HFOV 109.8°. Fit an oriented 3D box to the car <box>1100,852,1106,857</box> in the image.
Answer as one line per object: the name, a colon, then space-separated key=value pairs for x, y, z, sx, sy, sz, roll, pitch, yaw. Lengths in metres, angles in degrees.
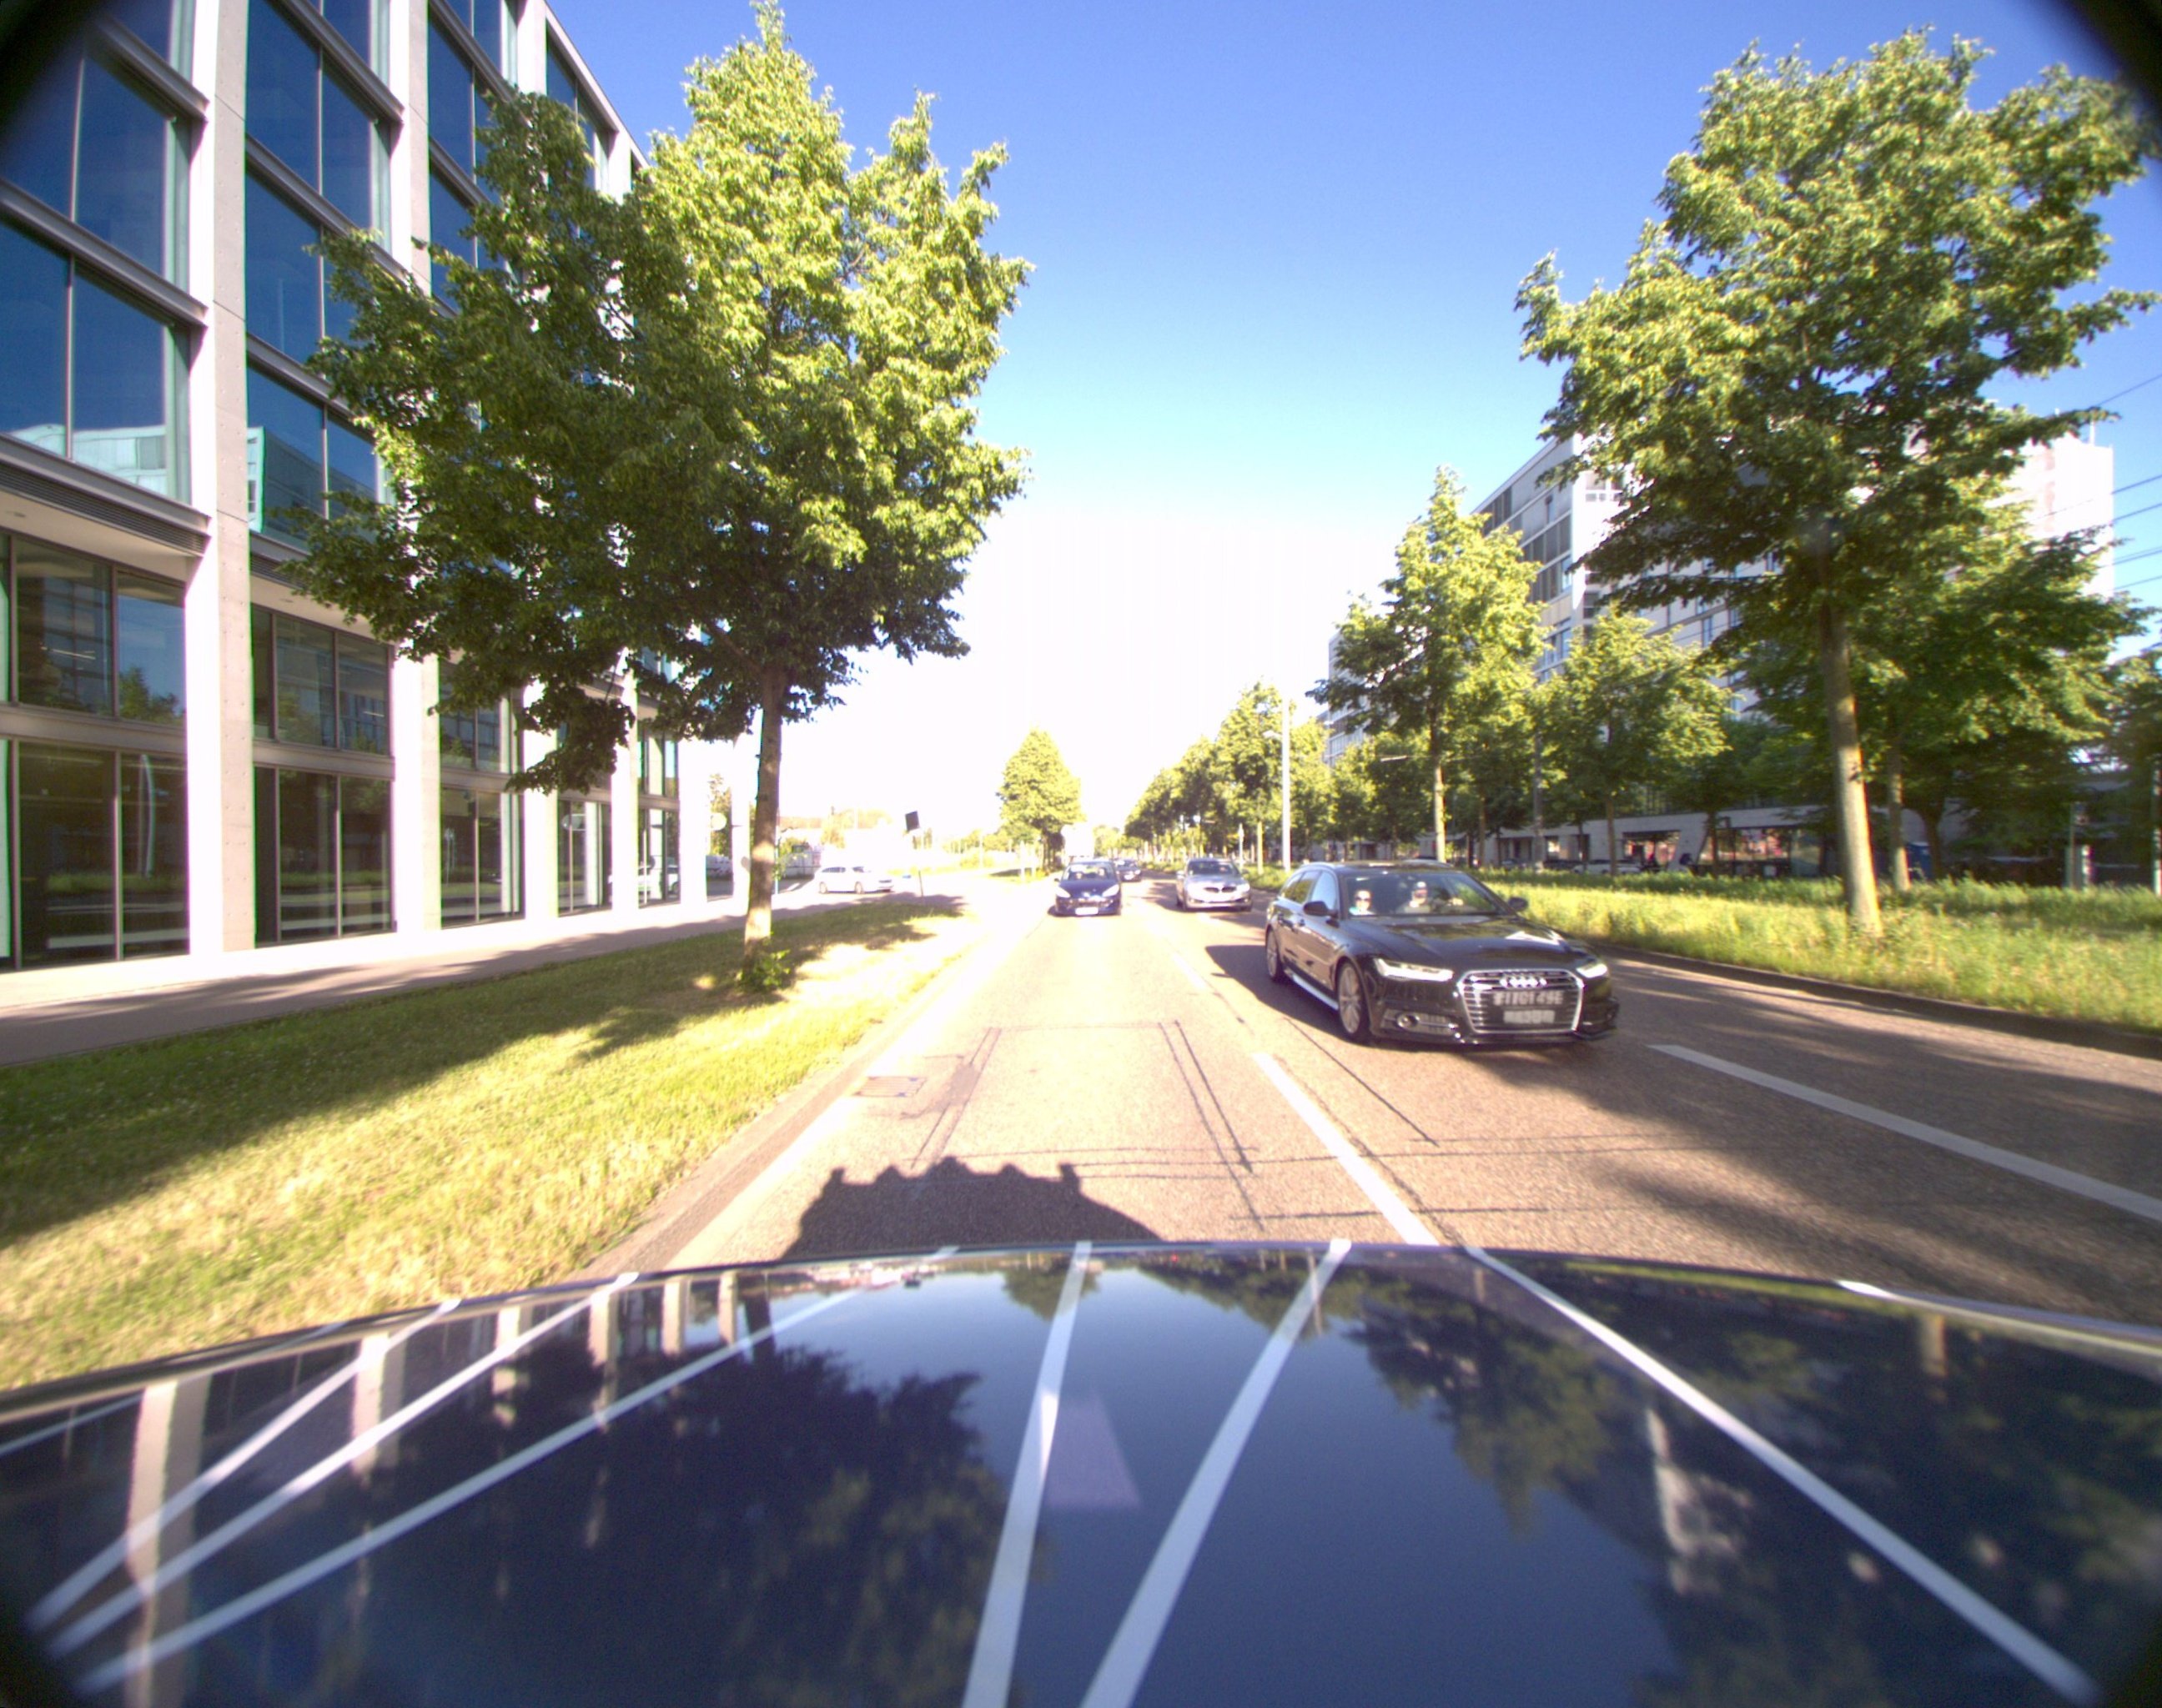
car: x=6.828 y=0.166 z=232.124 sx=1.878 sy=1.577 sz=4.344 roll=-1 pitch=0 yaw=2

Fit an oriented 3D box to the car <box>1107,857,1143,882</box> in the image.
car: x=2.697 y=0.940 z=47.483 sx=1.998 sy=1.437 sz=4.622 roll=-1 pitch=0 yaw=1

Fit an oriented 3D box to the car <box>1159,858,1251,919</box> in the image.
car: x=3.385 y=0.880 z=21.577 sx=1.824 sy=1.476 sz=4.560 roll=-1 pitch=0 yaw=0

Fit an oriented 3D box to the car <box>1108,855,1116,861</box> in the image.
car: x=7.184 y=0.931 z=178.289 sx=1.878 sy=1.415 sz=4.344 roll=-1 pitch=0 yaw=2

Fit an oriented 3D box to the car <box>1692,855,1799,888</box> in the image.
car: x=34.438 y=0.856 z=39.564 sx=1.951 sy=1.588 sz=4.183 roll=-1 pitch=0 yaw=1

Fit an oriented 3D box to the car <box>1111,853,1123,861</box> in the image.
car: x=6.349 y=0.531 z=134.039 sx=1.861 sy=1.482 sz=4.000 roll=-1 pitch=0 yaw=1

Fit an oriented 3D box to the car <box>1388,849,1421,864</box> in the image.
car: x=35.387 y=0.265 z=83.277 sx=1.884 sy=1.588 sz=4.183 roll=-1 pitch=0 yaw=1

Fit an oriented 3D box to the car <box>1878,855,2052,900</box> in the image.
car: x=34.200 y=0.838 z=29.605 sx=1.951 sy=1.588 sz=4.183 roll=-1 pitch=0 yaw=1

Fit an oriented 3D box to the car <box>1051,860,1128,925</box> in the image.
car: x=0.237 y=0.957 z=20.702 sx=1.846 sy=1.473 sz=4.481 roll=-1 pitch=0 yaw=1

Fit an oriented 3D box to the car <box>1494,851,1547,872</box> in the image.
car: x=35.054 y=0.564 z=60.768 sx=1.884 sy=1.588 sz=4.183 roll=-1 pitch=0 yaw=1

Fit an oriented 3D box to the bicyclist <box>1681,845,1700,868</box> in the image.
bicyclist: x=37.317 y=0.151 z=46.514 sx=0.478 sy=1.416 sz=0.820 roll=-1 pitch=1 yaw=1

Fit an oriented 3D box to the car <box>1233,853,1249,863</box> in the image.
car: x=27.032 y=0.598 z=128.644 sx=1.895 sy=1.671 sz=4.000 roll=-1 pitch=0 yaw=1

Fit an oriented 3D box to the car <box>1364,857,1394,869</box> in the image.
car: x=35.801 y=1.040 z=91.341 sx=1.999 sy=1.387 sz=3.999 roll=-1 pitch=0 yaw=-2

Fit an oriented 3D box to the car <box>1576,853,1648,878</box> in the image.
car: x=34.808 y=0.713 z=49.941 sx=1.884 sy=1.588 sz=4.183 roll=-1 pitch=0 yaw=1

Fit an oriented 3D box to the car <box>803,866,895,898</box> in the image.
car: x=-11.402 y=1.314 z=37.170 sx=4.555 sy=1.439 sz=1.808 roll=0 pitch=1 yaw=34

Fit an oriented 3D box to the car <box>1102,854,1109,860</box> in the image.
car: x=6.545 y=0.768 z=203.824 sx=1.724 sy=1.516 sz=4.000 roll=-1 pitch=0 yaw=1

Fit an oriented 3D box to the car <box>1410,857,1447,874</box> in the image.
car: x=35.343 y=1.122 z=77.368 sx=1.884 sy=1.588 sz=4.183 roll=-1 pitch=0 yaw=1

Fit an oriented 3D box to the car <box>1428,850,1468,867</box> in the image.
car: x=34.923 y=0.424 z=72.449 sx=1.884 sy=1.588 sz=4.183 roll=-1 pitch=0 yaw=1

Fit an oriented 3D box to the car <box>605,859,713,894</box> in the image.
car: x=-20.135 y=1.050 z=36.362 sx=3.996 sy=1.569 sz=2.000 roll=-1 pitch=1 yaw=3

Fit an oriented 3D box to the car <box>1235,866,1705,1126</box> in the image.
car: x=2.919 y=0.922 z=7.189 sx=1.879 sy=1.476 sz=4.966 roll=-1 pitch=0 yaw=0

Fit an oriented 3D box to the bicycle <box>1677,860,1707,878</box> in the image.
bicycle: x=37.319 y=0.916 z=46.424 sx=0.478 sy=1.029 sz=1.756 roll=-1 pitch=0 yaw=1

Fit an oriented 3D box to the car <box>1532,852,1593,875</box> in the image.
car: x=35.090 y=0.629 z=55.485 sx=1.884 sy=1.588 sz=4.183 roll=-1 pitch=0 yaw=1
